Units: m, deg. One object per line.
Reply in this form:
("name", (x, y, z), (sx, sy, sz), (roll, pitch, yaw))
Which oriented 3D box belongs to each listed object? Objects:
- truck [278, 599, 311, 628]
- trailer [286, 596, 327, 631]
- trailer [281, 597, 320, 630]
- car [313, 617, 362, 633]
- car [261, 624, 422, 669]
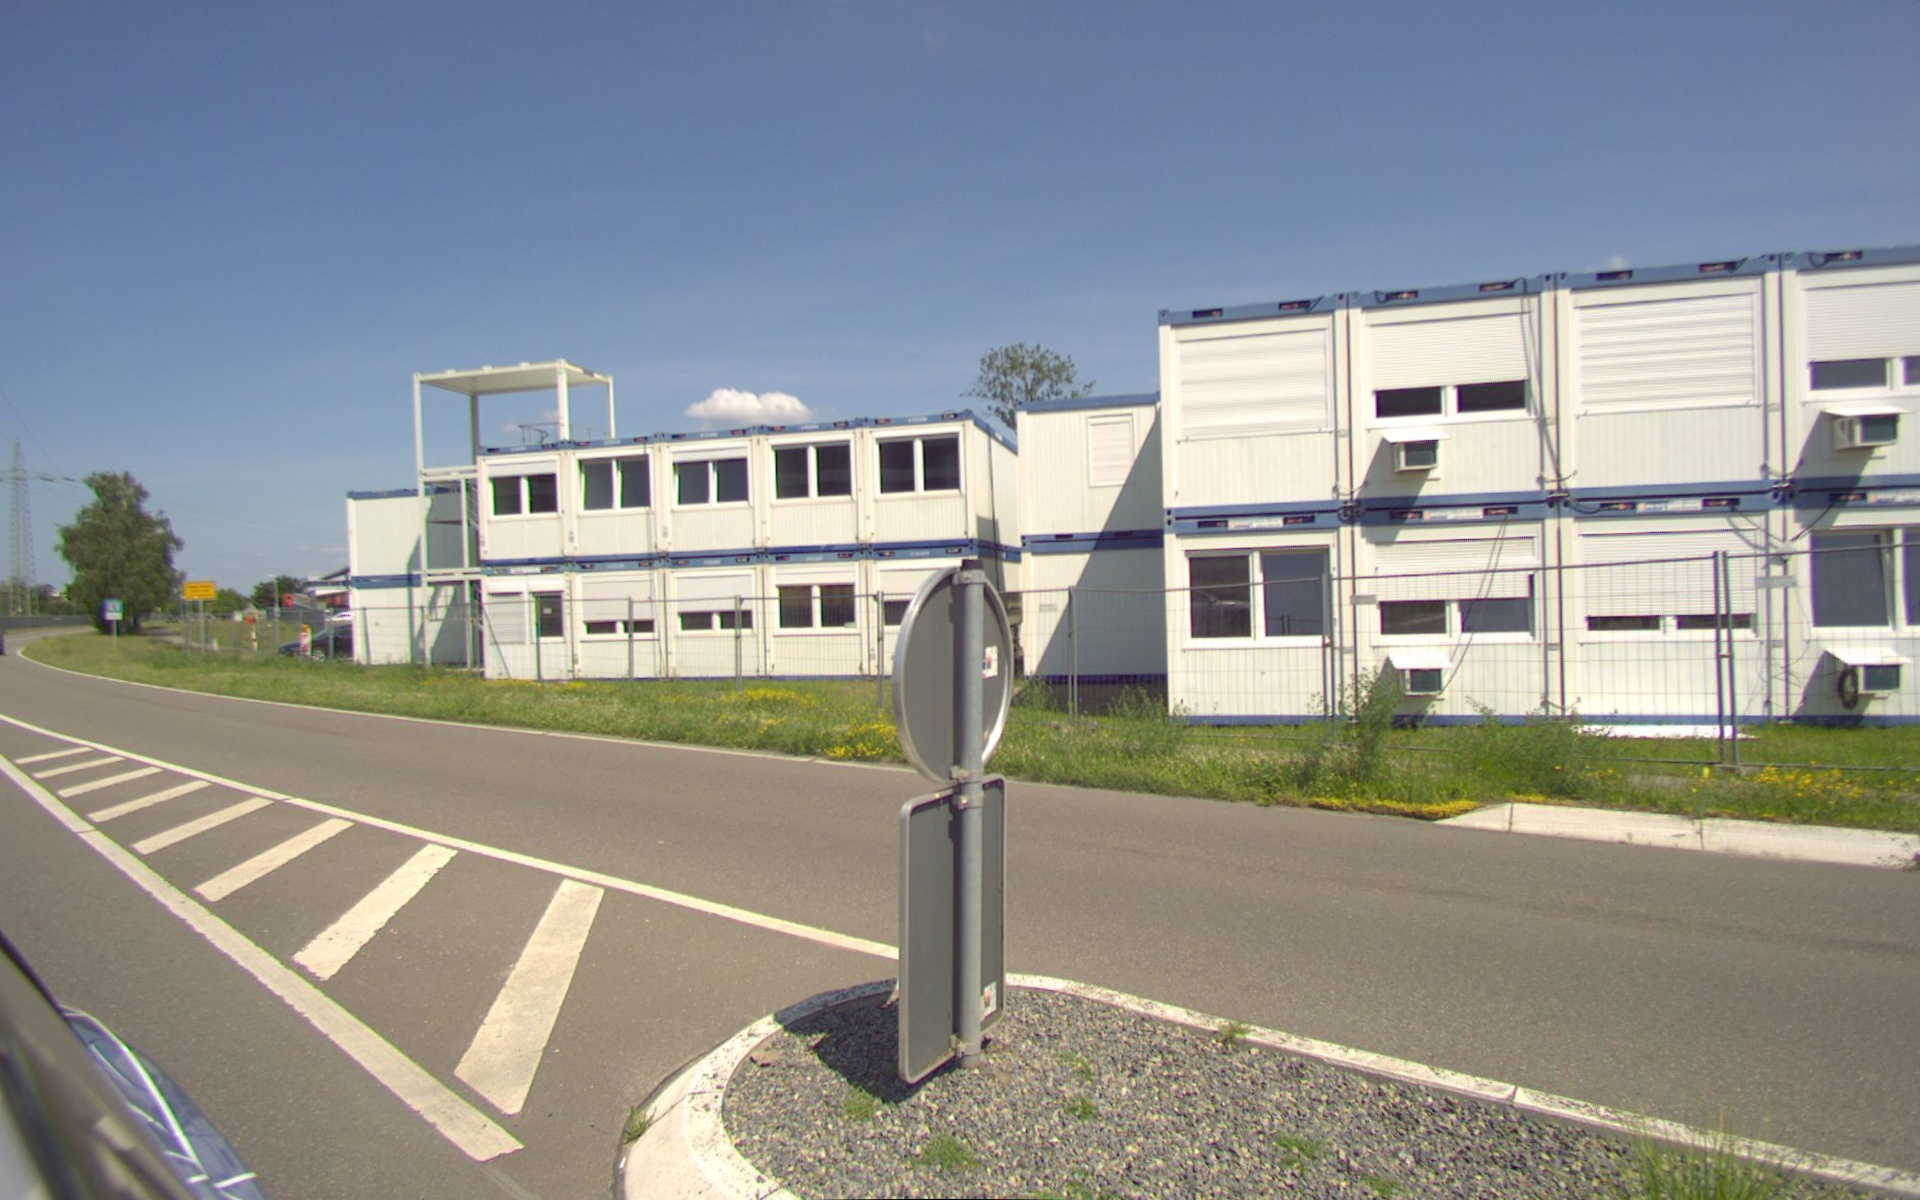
("truck", (-86.403, 1.719, 131.293), (3.060, 3.672, 10.619), (-1, 0, -36))
("trailer", (-71.995, 1.489, 111.385), (3.354, 3.672, 8.679), (-1, 0, -36))
("trailer", (-78.903, 1.599, 120.954), (3.247, 3.672, 14.960), (-1, 0, -36))
("car", (-61.754, 2.454, 100.417), (3.934, 1.353, 1.751), (-2, 0, -36))
("car", (-23.823, 1.768, 39.198), (1.994, 1.427, 4.930), (-2, 0, 32))
